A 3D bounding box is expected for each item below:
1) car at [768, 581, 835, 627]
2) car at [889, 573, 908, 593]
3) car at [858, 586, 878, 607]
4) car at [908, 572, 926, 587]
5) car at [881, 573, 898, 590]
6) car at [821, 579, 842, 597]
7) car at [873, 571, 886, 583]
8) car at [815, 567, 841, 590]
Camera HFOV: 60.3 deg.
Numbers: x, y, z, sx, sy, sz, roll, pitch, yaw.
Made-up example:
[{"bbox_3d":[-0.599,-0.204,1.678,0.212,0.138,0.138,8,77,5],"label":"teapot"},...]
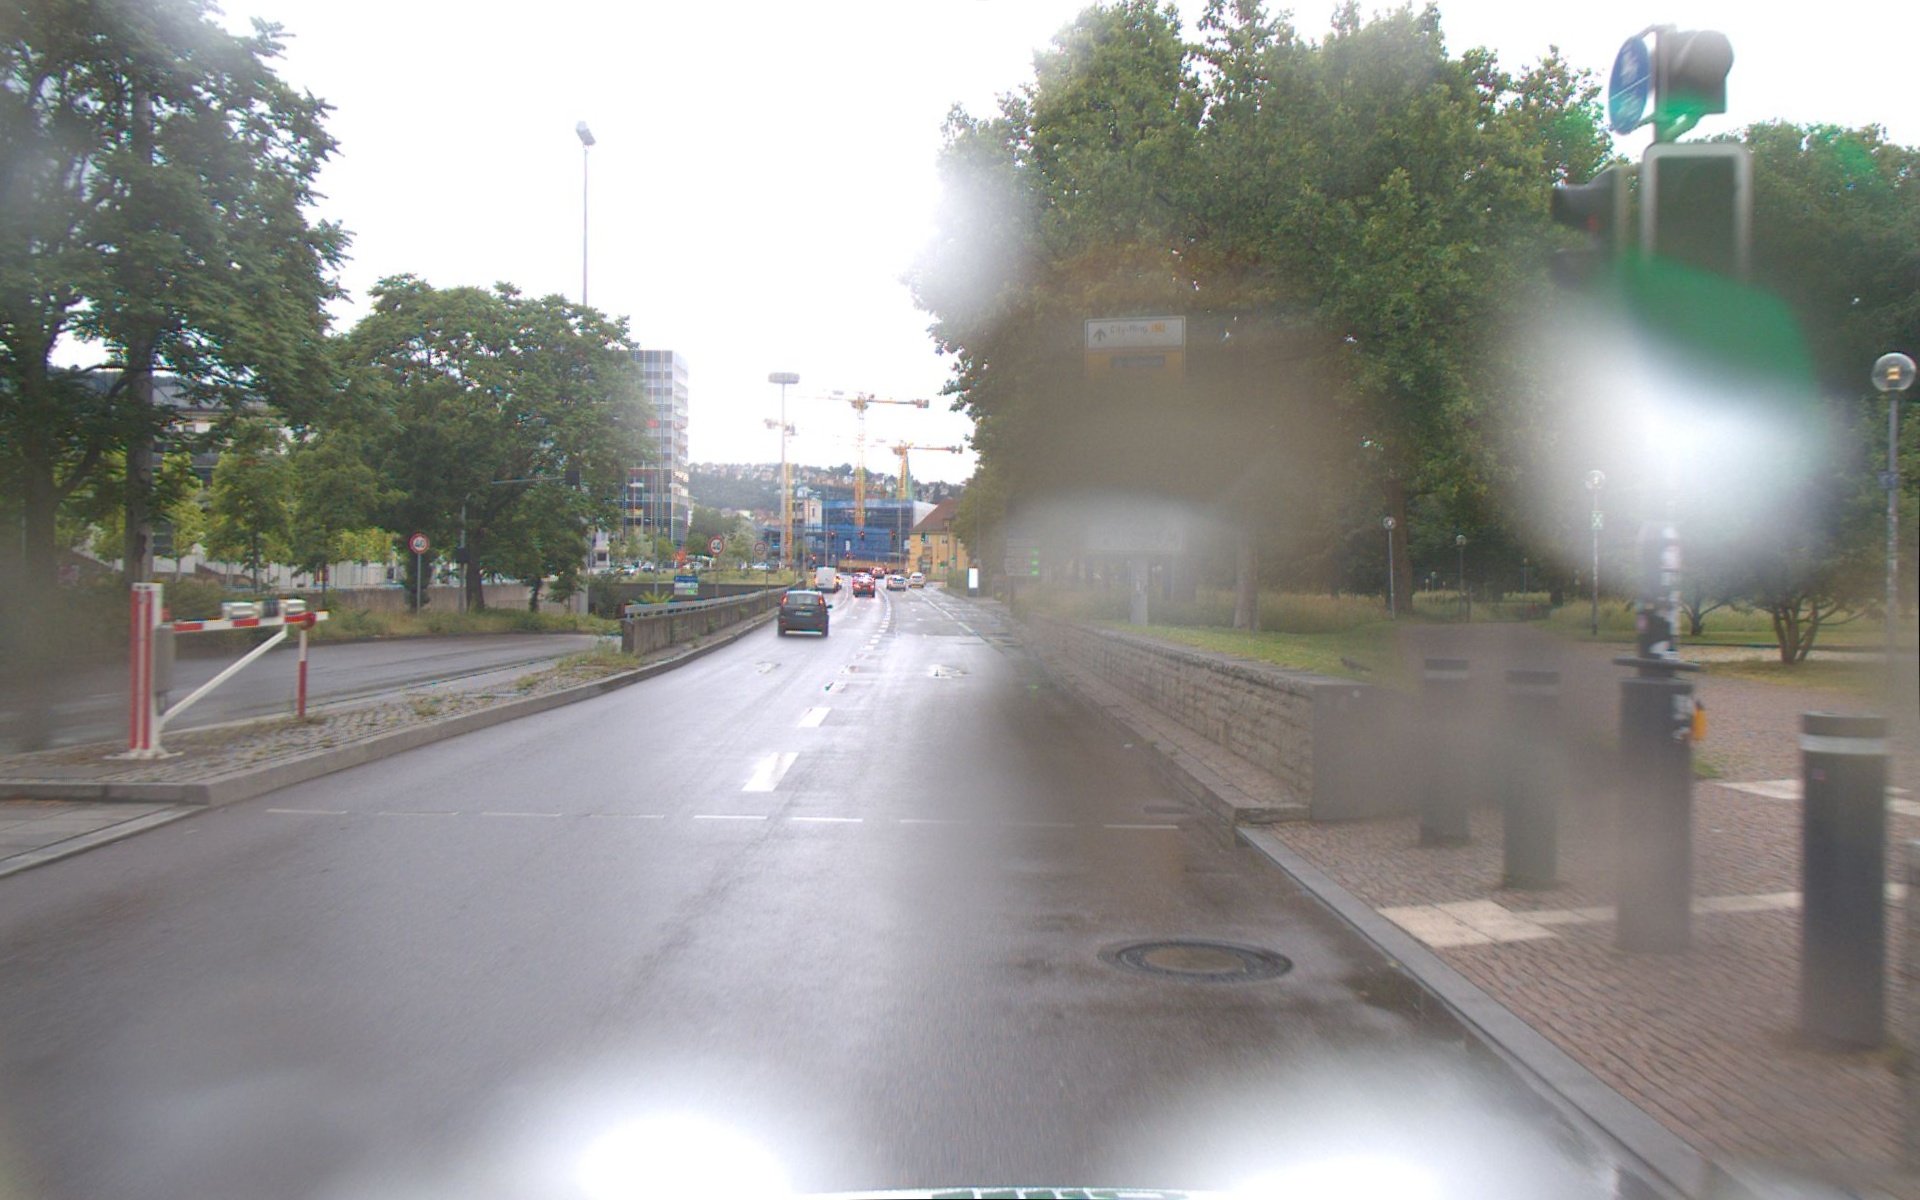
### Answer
[{"bbox_3d":[-5.219,0.143,54.079,1.811,1.441,3.829,-1,0,-11],"label":"car"},{"bbox_3d":[-6.572,-1.834,176.291,1.948,2.049,3.998,-1,0,-3],"label":"car"},{"bbox_3d":[-8.177,-0.299,147.040,1.704,1.802,3.998,-1,0,-2],"label":"car"},{"bbox_3d":[-5.023,-2.389,193.862,1.953,1.627,3.999,-1,0,-1],"label":"car"},{"bbox_3d":[-7.766,-2.000,182.006,1.678,1.719,3.848,-1,0,-1],"label":"car"},{"bbox_3d":[-13.506,-1.279,173.932,1.953,1.814,3.999,-1,0,-1],"label":"car"},{"bbox_3d":[-11.802,-3.366,242.550,1.686,1.584,3.583,1,0,-1],"label":"car"},{"bbox_3d":[-12.509,-2.051,156.640,2.174,2.049,3.999,-1,0,-1],"label":"car"}]
